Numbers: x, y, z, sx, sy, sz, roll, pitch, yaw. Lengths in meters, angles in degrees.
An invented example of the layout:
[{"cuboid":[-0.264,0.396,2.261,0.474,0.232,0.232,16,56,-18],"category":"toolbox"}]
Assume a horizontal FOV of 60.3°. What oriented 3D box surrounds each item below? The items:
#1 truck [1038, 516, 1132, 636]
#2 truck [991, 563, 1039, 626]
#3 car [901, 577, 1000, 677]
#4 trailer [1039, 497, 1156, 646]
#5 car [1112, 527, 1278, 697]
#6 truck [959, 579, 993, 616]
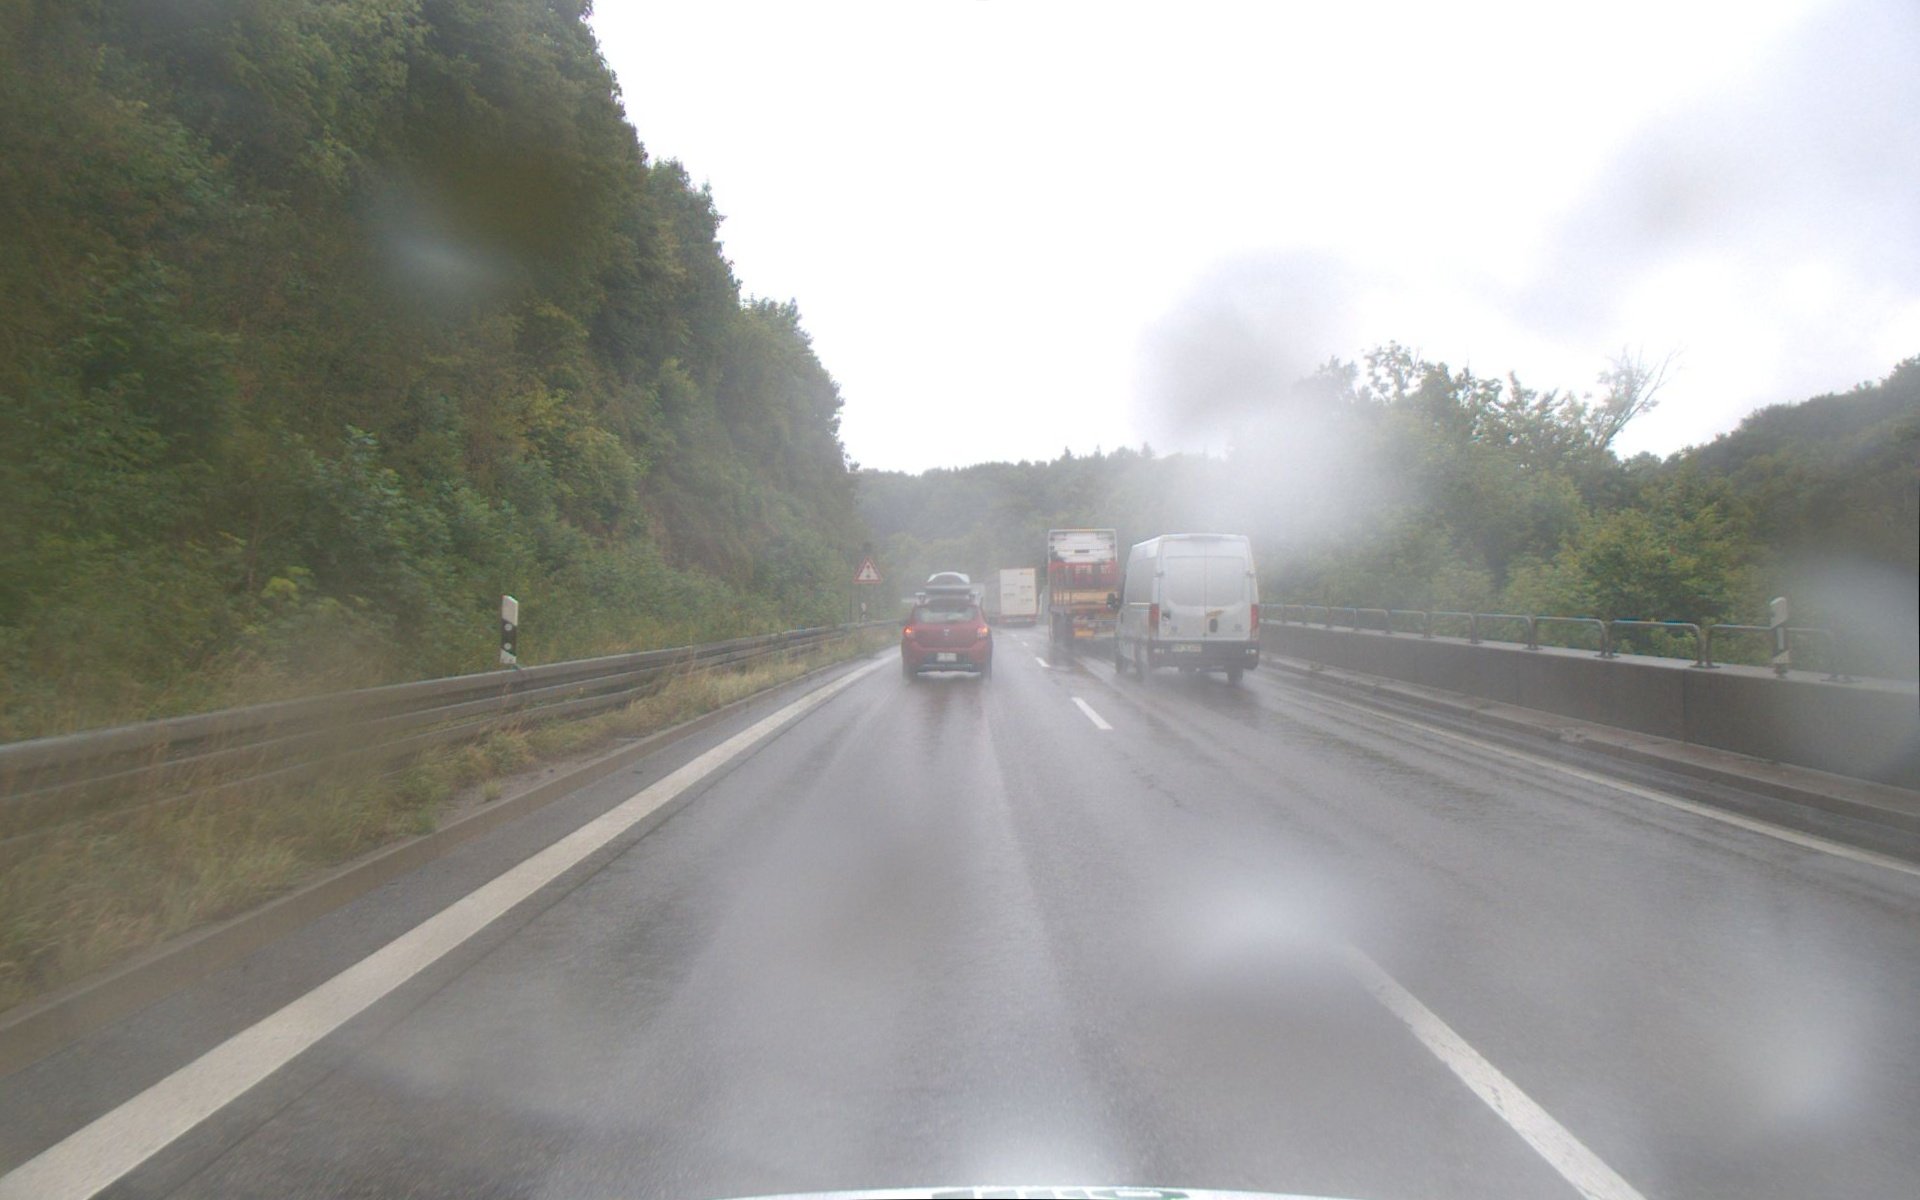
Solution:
[{"cuboid":[4.384,-0.817,59.032,3.152,4.047,5.440,-1,0,3],"category":"truck"},{"cuboid":[3.832,-0.359,116.508,2.633,4.165,9.311,-3,0,-2],"category":"truck"},{"cuboid":[-0.170,0.487,31.825,1.722,1.714,4.000,-3,0,0],"category":"car"},{"cuboid":[4.108,-0.802,52.371,3.151,4.069,13.528,-1,0,3],"category":"trailer"},{"cuboid":[4.300,0.205,31.594,2.160,2.843,7.383,1,0,1],"category":"car"},{"cuboid":[1.456,-0.237,154.158,2.999,3.369,8.069,0,0,-1],"category":"truck"}]
